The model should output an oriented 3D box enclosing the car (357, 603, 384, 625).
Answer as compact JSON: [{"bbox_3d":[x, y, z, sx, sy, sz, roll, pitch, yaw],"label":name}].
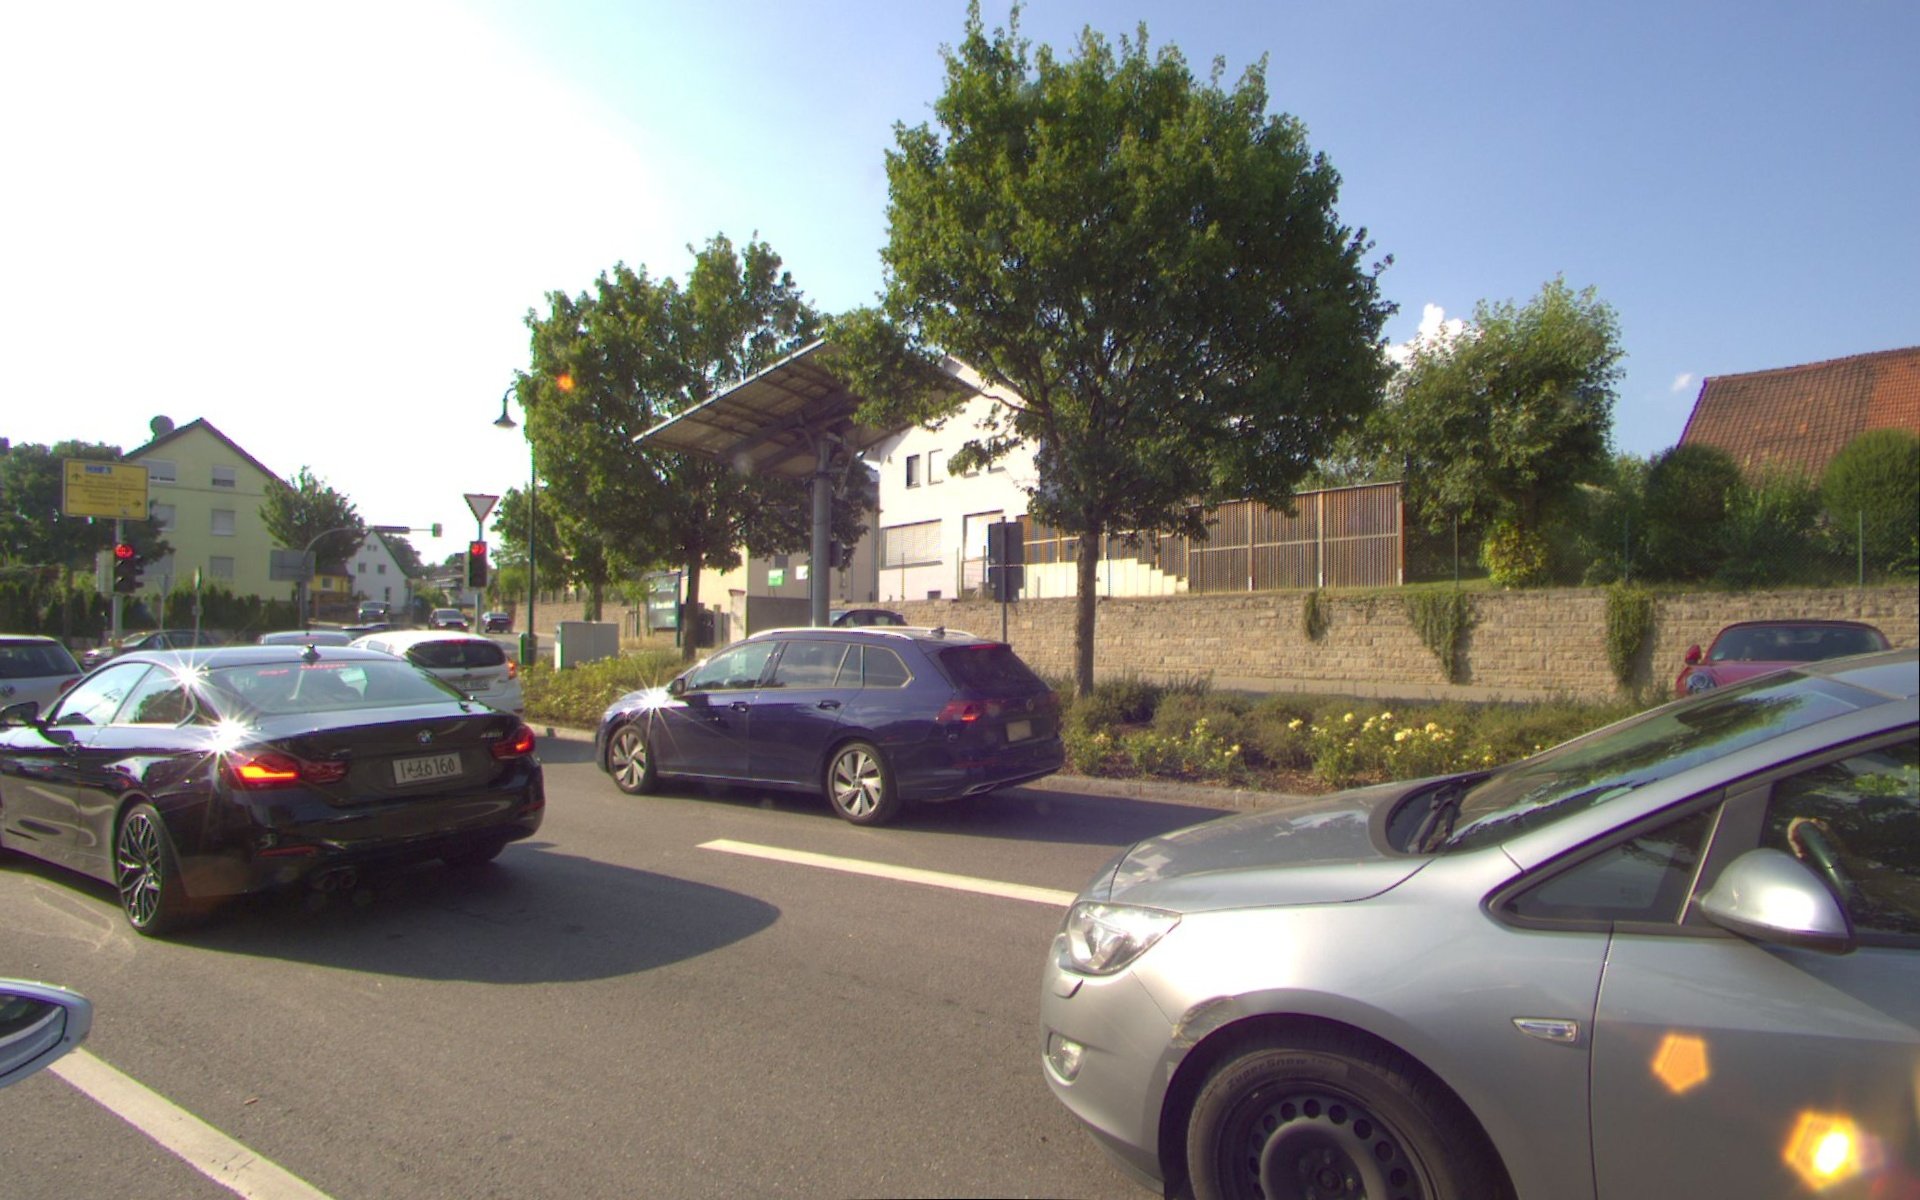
[{"bbox_3d":[-48.536,1.168,82.441,1.823,1.761,4.758,1,-2,-32],"label":"car"}]

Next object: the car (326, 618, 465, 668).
[{"bbox_3d":[-20.352,1.513,36.324,1.936,1.701,4.209,-1,-1,17],"label":"car"}]

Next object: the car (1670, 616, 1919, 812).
[{"bbox_3d":[8.242,0.951,9.742,1.758,1.510,4.120,-1,-2,41],"label":"car"}]

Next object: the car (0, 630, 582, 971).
[{"bbox_3d":[-4.418,0.914,6.183,4.220,1.416,1.758,-1,0,33],"label":"car"}]

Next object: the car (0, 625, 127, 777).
[{"bbox_3d":[-10.789,1.012,10.776,3.848,1.444,1.758,-1,0,33],"label":"car"}]

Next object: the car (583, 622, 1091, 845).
[{"bbox_3d":[-1.178,0.949,8.671,4.258,1.472,1.757,-1,0,33],"label":"car"}]

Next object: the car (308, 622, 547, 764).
[{"bbox_3d":[-6.901,1.080,12.885,3.278,1.562,1.611,-1,0,40],"label":"car"}]

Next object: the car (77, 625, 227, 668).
[{"bbox_3d":[-30.056,1.718,37.360,1.821,1.508,3.983,-1,-2,30],"label":"car"}]

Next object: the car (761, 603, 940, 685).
[{"bbox_3d":[-2.361,0.960,22.295,1.758,1.653,3.800,-1,-2,40],"label":"car"}]

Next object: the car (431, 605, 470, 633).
[{"bbox_3d":[-32.259,1.231,63.350,1.823,1.662,4.406,1,-2,-32],"label":"car"}]

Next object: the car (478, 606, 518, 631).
[{"bbox_3d":[-32.295,1.313,69.935,1.945,1.701,4.188,0,-1,-34],"label":"car"}]

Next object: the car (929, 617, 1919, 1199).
[{"bbox_3d":[2.190,0.782,2.159,4.256,1.472,1.758,-1,0,31],"label":"car"}]

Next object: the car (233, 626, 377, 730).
[{"bbox_3d":[-11.736,1.271,17.811,1.643,1.562,4.362,-1,0,-40],"label":"car"}]
